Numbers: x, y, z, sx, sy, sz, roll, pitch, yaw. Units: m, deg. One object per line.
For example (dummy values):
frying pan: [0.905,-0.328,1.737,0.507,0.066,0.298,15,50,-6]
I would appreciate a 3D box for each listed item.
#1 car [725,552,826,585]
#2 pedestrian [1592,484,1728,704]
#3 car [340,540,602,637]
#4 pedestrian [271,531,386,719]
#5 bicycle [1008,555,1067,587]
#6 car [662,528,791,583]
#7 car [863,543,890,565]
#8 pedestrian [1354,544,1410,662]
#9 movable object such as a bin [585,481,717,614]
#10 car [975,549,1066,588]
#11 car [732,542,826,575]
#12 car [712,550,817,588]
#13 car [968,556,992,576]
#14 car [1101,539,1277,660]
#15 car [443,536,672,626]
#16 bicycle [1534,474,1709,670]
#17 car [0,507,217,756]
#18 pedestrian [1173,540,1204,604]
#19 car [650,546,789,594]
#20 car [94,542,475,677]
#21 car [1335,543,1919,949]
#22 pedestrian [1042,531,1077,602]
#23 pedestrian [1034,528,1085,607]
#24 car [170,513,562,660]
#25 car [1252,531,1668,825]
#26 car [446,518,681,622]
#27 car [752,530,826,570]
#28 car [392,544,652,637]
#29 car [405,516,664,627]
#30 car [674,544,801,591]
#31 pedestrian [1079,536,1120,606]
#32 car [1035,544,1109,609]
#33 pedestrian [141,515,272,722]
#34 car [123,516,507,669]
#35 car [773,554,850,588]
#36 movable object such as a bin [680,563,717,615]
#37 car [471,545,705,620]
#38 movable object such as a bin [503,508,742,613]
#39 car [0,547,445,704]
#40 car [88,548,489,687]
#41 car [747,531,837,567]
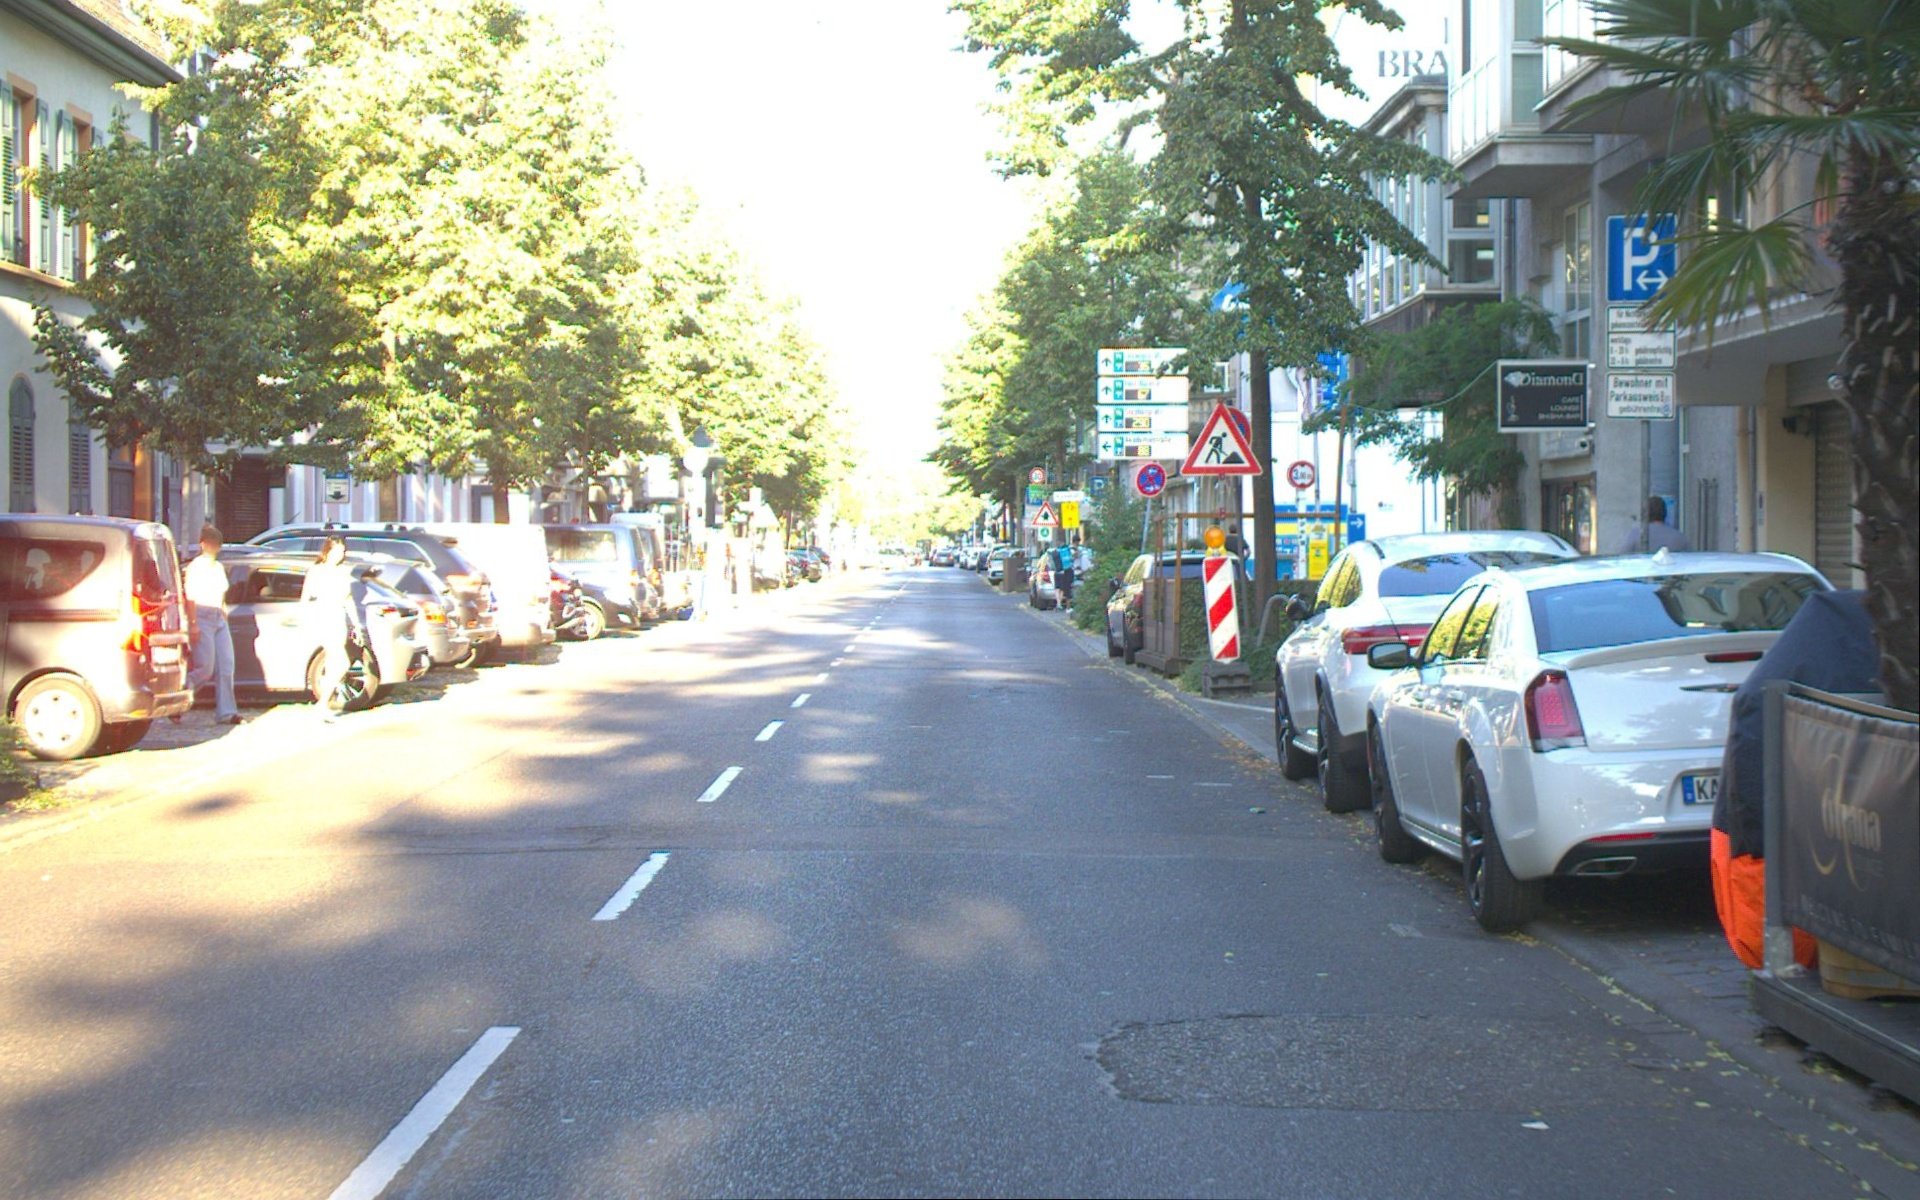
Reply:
car: [-8.402,-1.442,156.831,4.442,1.444,1.919,1,0,1]
pedestrian: [5.854,-0.058,28.811,0.855,1.788,0.997,-1,1,-4]
car: [-7.928,-0.200,55.947,3.923,1.496,1.905,1,1,2]
pedestrian: [-5.569,0.212,30.352,0.827,1.632,0.827,-1,1,1]
bicycle: [2.707,-1.014,119.750,1.958,1.070,0.704,1,1,32]
car: [-8.533,-1.626,126.036,4.571,1.955,1.991,1,0,0]
car: [-5.824,-3.233,241.125,1.752,1.535,3.303,0,0,1]
pedestrian: [5.516,0.027,45.004,0.610,1.520,0.773,-1,1,0]
movable object such as a bin: [-7.105,-1.214,79.600,2.625,2.959,5.304,0,1,0]
car: [2.554,-1.316,144.368,1.674,1.583,3.814,1,1,43]
car: [-8.803,-2.029,167.703,4.442,1.518,1.919,1,0,1]
car: [-8.526,-1.352,150.308,4.442,1.562,1.919,1,0,1]
car: [1.331,-2.206,224.091,1.513,1.271,3.303,0,0,1]
car: [3.034,-0.042,46.540,1.828,1.483,4.850,-2,1,-2]
car: [-7.669,-0.381,65.801,4.129,1.631,1.860,1,1,1]
bicycle: [4.511,-0.202,23.582,0.775,1.258,2.050,-2,1,1]
car: [-7.858,0.214,25.815,4.138,1.800,1.807,0,1,2]
pedestrian: [5.681,-0.691,85.421,0.658,1.557,0.701,-2,1,0]
car: [-8.085,-1.006,115.773,4.546,1.536,1.811,1,0,-1]
car: [-7.869,0.093,40.315,4.037,1.550,1.964,0,1,2]
car: [2.975,0.517,15.759,1.842,1.475,5.190,-3,1,0]
pedestrian: [2.464,-0.825,84.915,0.677,1.748,0.825,-1,0,-11]
pedestrian: [2.375,-0.780,82.177,1.013,1.819,0.780,-3,1,-10]
car: [-7.842,-0.190,45.739,4.870,1.901,1.974,0,1,0]
car: [3.006,0.398,21.637,1.879,1.568,4.692,-2,1,0]
car: [-7.854,-0.609,68.428,4.483,1.969,1.966,1,1,-2]
car: [-10.495,-3.079,211.608,4.442,2.426,1.919,1,0,1]
car: [-7.473,-0.177,58.988,4.325,1.496,1.842,1,1,-5]
car: [-7.771,-0.539,63.132,4.483,1.969,2.068,0,1,1]
car: [-8.309,-1.214,128.735,4.571,1.692,2.060,1,0,1]
pedestrian: [3.426,-0.716,84.591,0.651,1.694,0.668,-3,1,-44]
car: [2.854,-0.620,88.082,1.687,1.569,4.013,-3,1,0]
pedestrian: [-6.517,0.153,29.769,0.921,1.753,0.762,-1,1,1]
car: [-7.991,-0.109,42.884,4.428,1.863,1.894,0,1,1]
car: [-8.701,-1.699,201.651,4.442,1.953,1.919,1,0,1]
movable object such as a bin: [-5.590,-0.236,73.588,0.690,1.101,0.883,-1,1,2]
car: [-7.710,-0.380,71.569,4.594,1.465,1.892,1,1,3]
movable object such as a bin: [-8.222,-0.975,84.209,2.312,2.486,5.740,1,1,43]
car: [-7.063,0.226,32.946,4.058,1.456,1.686,0,1,-2]
car: [-7.339,0.168,37.849,4.037,1.478,1.963,0,1,0]
car: [-8.509,-2.592,174.201,4.442,1.753,1.919,1,0,1]
